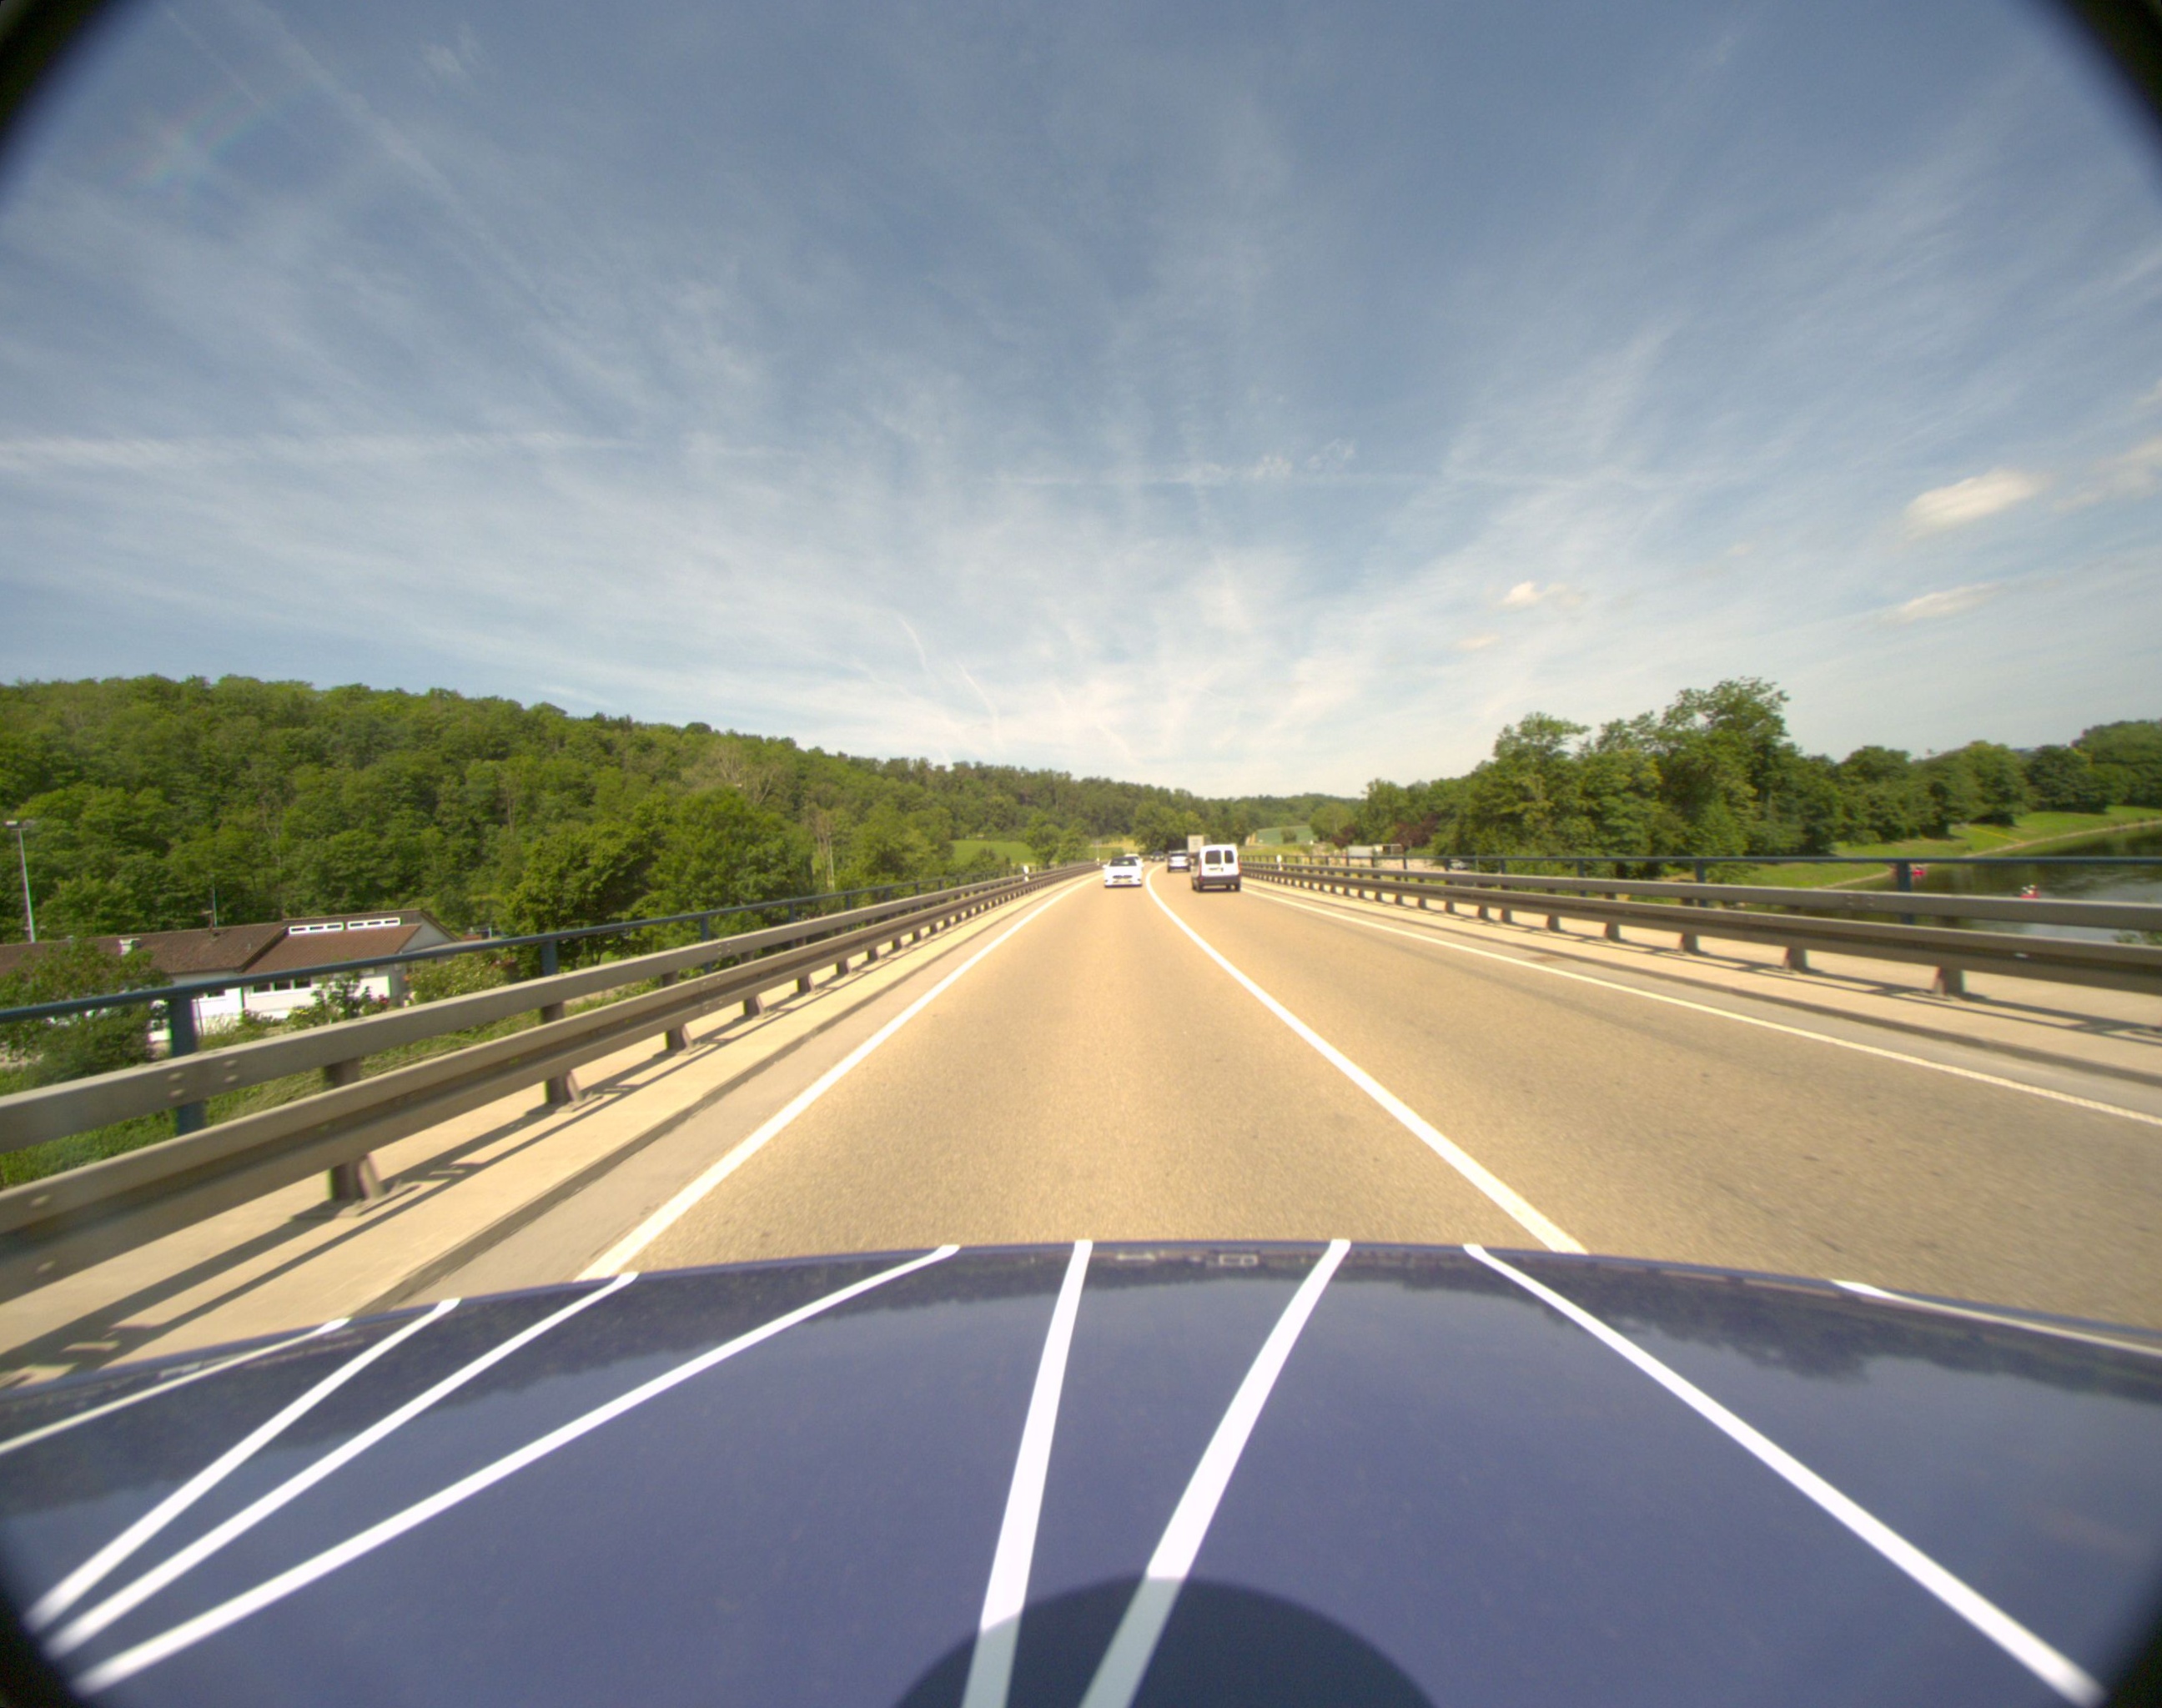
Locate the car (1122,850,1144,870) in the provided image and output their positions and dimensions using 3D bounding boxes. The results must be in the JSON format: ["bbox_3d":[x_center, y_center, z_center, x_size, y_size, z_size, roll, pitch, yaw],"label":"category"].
[{"bbox_3d":[4.499,0.458,64.812,1.717,1.523,4.001,-3,1,5],"label":"car"}]

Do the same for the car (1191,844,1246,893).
[{"bbox_3d":[5.388,0.536,30.255,1.742,1.764,4.037,-2,0,5],"label":"car"}]

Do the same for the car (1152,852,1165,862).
[{"bbox_3d":[11.326,0.416,111.086,1.742,1.445,4.037,-2,0,4],"label":"car"}]

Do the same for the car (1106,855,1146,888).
[{"bbox_3d":[2.136,0.835,37.340,1.743,1.445,4.036,-2,0,1],"label":"car"}]

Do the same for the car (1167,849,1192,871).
[{"bbox_3d":[7.752,0.478,60.143,1.742,1.602,3.809,-2,0,5],"label":"car"}]
